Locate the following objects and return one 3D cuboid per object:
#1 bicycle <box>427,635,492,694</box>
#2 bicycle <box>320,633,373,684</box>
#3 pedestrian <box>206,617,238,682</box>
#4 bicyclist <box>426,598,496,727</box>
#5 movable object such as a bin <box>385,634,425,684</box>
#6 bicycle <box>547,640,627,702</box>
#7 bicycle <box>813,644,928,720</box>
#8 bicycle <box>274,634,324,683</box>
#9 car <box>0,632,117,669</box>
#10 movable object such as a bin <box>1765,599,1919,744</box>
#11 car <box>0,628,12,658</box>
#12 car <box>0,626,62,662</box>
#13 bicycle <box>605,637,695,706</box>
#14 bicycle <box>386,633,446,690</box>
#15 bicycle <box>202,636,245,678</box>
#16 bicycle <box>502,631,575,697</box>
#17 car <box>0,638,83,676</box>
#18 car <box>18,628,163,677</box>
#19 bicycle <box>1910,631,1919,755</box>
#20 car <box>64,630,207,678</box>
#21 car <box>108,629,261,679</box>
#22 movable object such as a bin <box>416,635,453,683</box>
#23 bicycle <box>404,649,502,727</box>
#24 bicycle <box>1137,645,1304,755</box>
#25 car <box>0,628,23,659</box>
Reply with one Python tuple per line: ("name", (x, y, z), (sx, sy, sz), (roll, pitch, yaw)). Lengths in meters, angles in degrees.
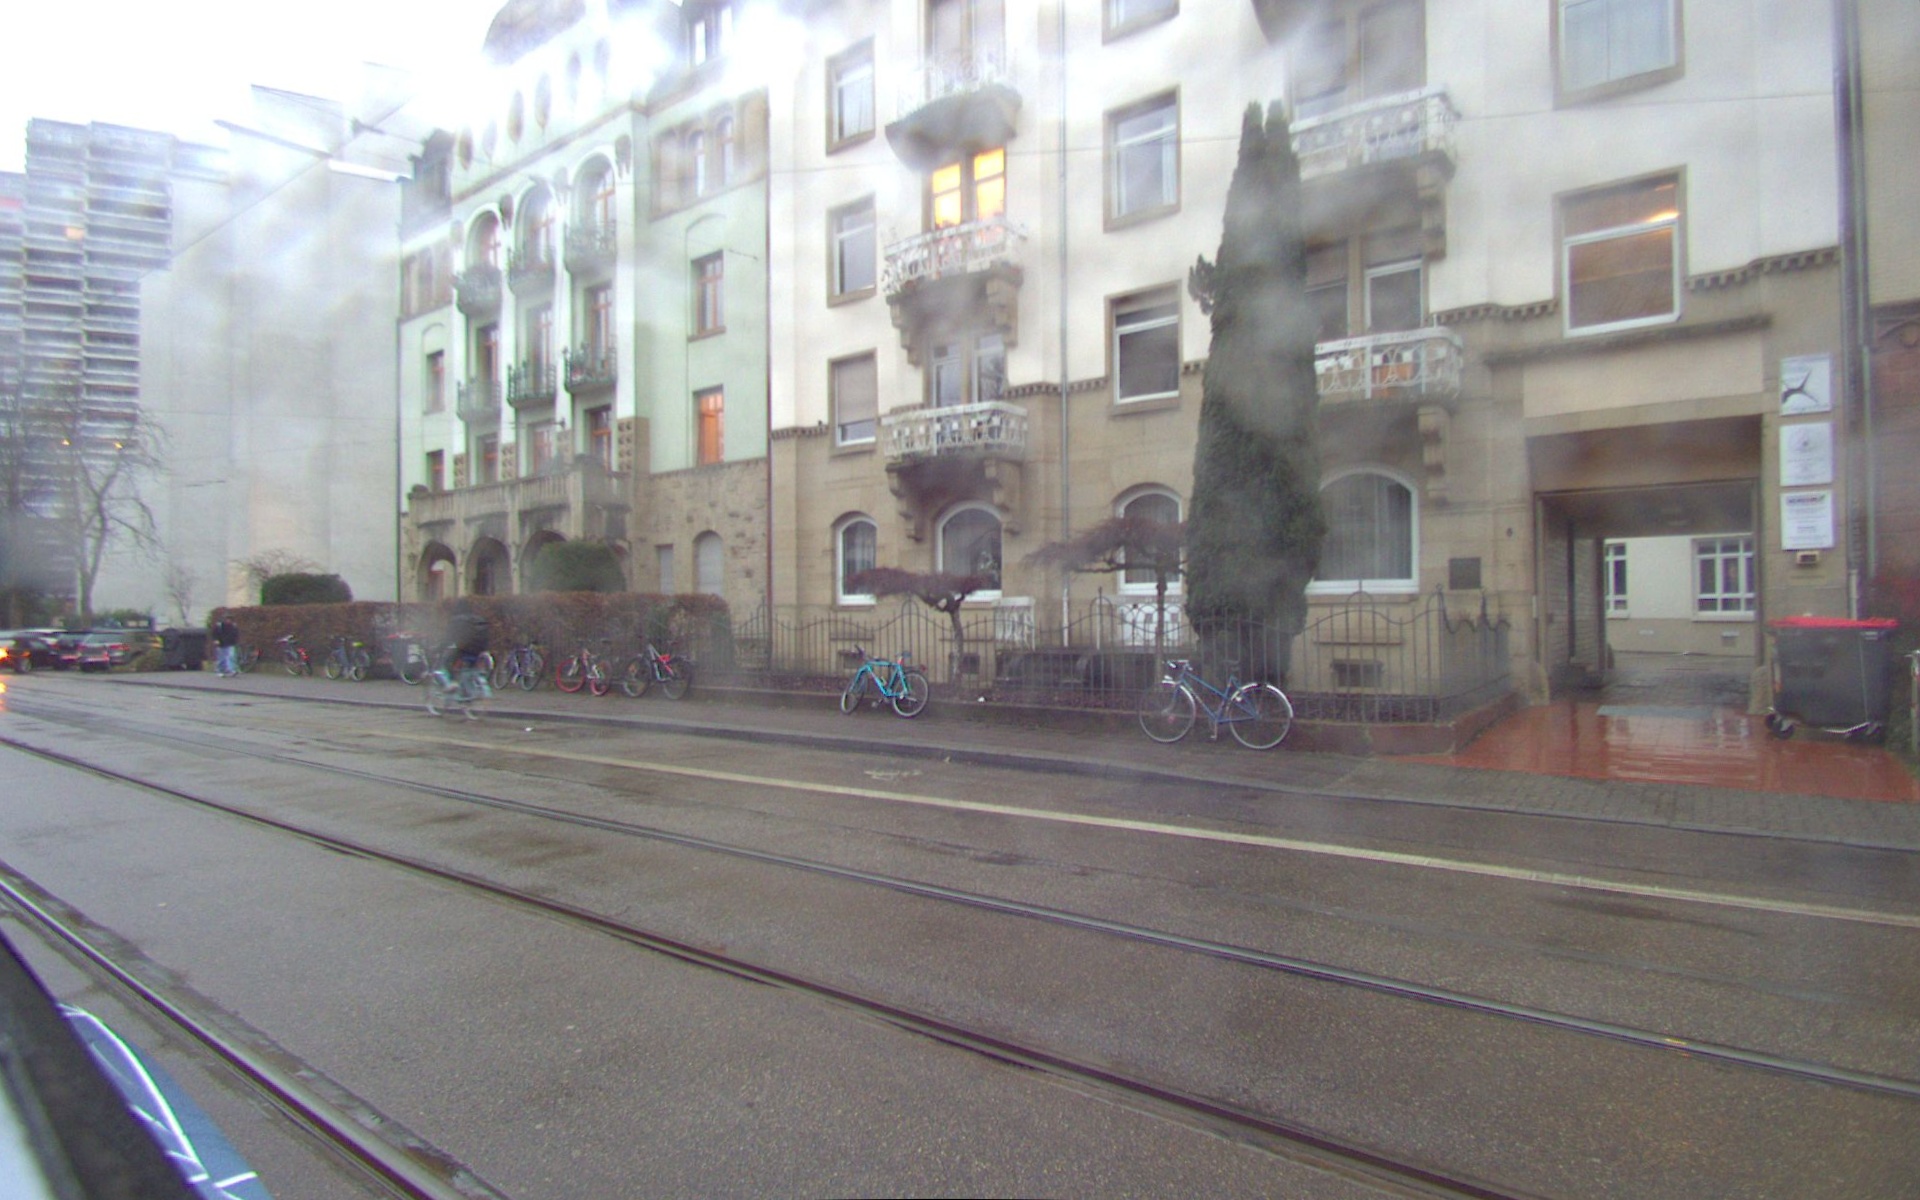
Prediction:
("bicycle", (-10.541, 1.331, 21.289), (1.661, 1.173, 0.617), (-2, -2, 40))
("bicycle", (-15.195, 1.432, 25.038), (1.661, 1.221, 0.617), (-2, -2, 40))
("pedestrian", (-20.078, 1.331, 27.538), (0.644, 1.738, 0.567), (0, 1, 41))
("bicyclist", (-7.620, 0.933, 15.448), (0.990, 1.891, 0.617), (-2, -2, 40))
("movable object such as a bin", (-13.477, 1.417, 24.579), (0.674, 1.173, 0.651), (-2, -2, 40))
("bicycle", (-6.896, 1.281, 18.684), (1.725, 1.073, 0.617), (-2, -2, 40))
("bicycle", (-1.286, 1.133, 14.357), (1.661, 1.010, 0.617), (-2, -2, 40))
("bicycle", (-17.219, 1.505, 26.355), (1.661, 1.221, 0.617), (-2, -2, 40))
("car", (-39.306, 2.147, 44.105), (1.843, 1.460, 3.999), (-1, -1, 0))
("movable object such as a bin", (9.374, 0.719, 10.814), (1.166, 1.390, 1.092), (-2, 1, 39))
("car", (-52.404, 2.282, 52.992), (1.843, 1.608, 3.999), (-1, -1, 0))
("car", (-44.760, 2.042, 47.396), (1.843, 1.608, 3.999), (-1, -1, 0))
("bicycle", (-5.370, 1.211, 17.500), (1.781, 1.134, 0.617), (-2, -2, 40))
("bicycle", (-12.157, 1.356, 22.600), (1.661, 1.221, 0.617), (-2, -2, 40))
("bicycle", (-21.425, 1.647, 29.440), (1.661, 1.173, 0.617), (-2, -1, 40))
("bicycle", (-8.258, 1.233, 19.804), (1.661, 1.221, 0.617), (-2, -2, 40))
("car", (-33.279, 1.990, 35.624), (1.687, 1.262, 3.666), (0, -2, -1))
("car", (-31.409, 1.850, 36.709), (1.843, 1.608, 3.999), (-1, -1, 0))
("bicycle", (8.706, 0.887, 8.599), (0.694, 1.114, 2.326), (-2, 1, 38))
("car", (-28.621, 1.839, 35.296), (1.740, 1.497, 3.999), (-1, -1, 0))
("car", (-26.120, 1.787, 34.275), (1.847, 1.505, 3.989), (-1, -1, 8))
("movable object such as a bin", (-13.041, 1.451, 25.128), (0.674, 1.173, 0.617), (-2, -2, 40))
("bicycle", (-7.835, 1.320, 15.603), (1.946, 1.101, 0.617), (-2, -2, 40))
("bicycle", (2.827, 1.052, 11.093), (1.661, 1.101, 0.617), (-2, -2, 40))
("car", (-49.973, 2.236, 51.013), (1.843, 1.608, 3.999), (-1, -1, 0))
